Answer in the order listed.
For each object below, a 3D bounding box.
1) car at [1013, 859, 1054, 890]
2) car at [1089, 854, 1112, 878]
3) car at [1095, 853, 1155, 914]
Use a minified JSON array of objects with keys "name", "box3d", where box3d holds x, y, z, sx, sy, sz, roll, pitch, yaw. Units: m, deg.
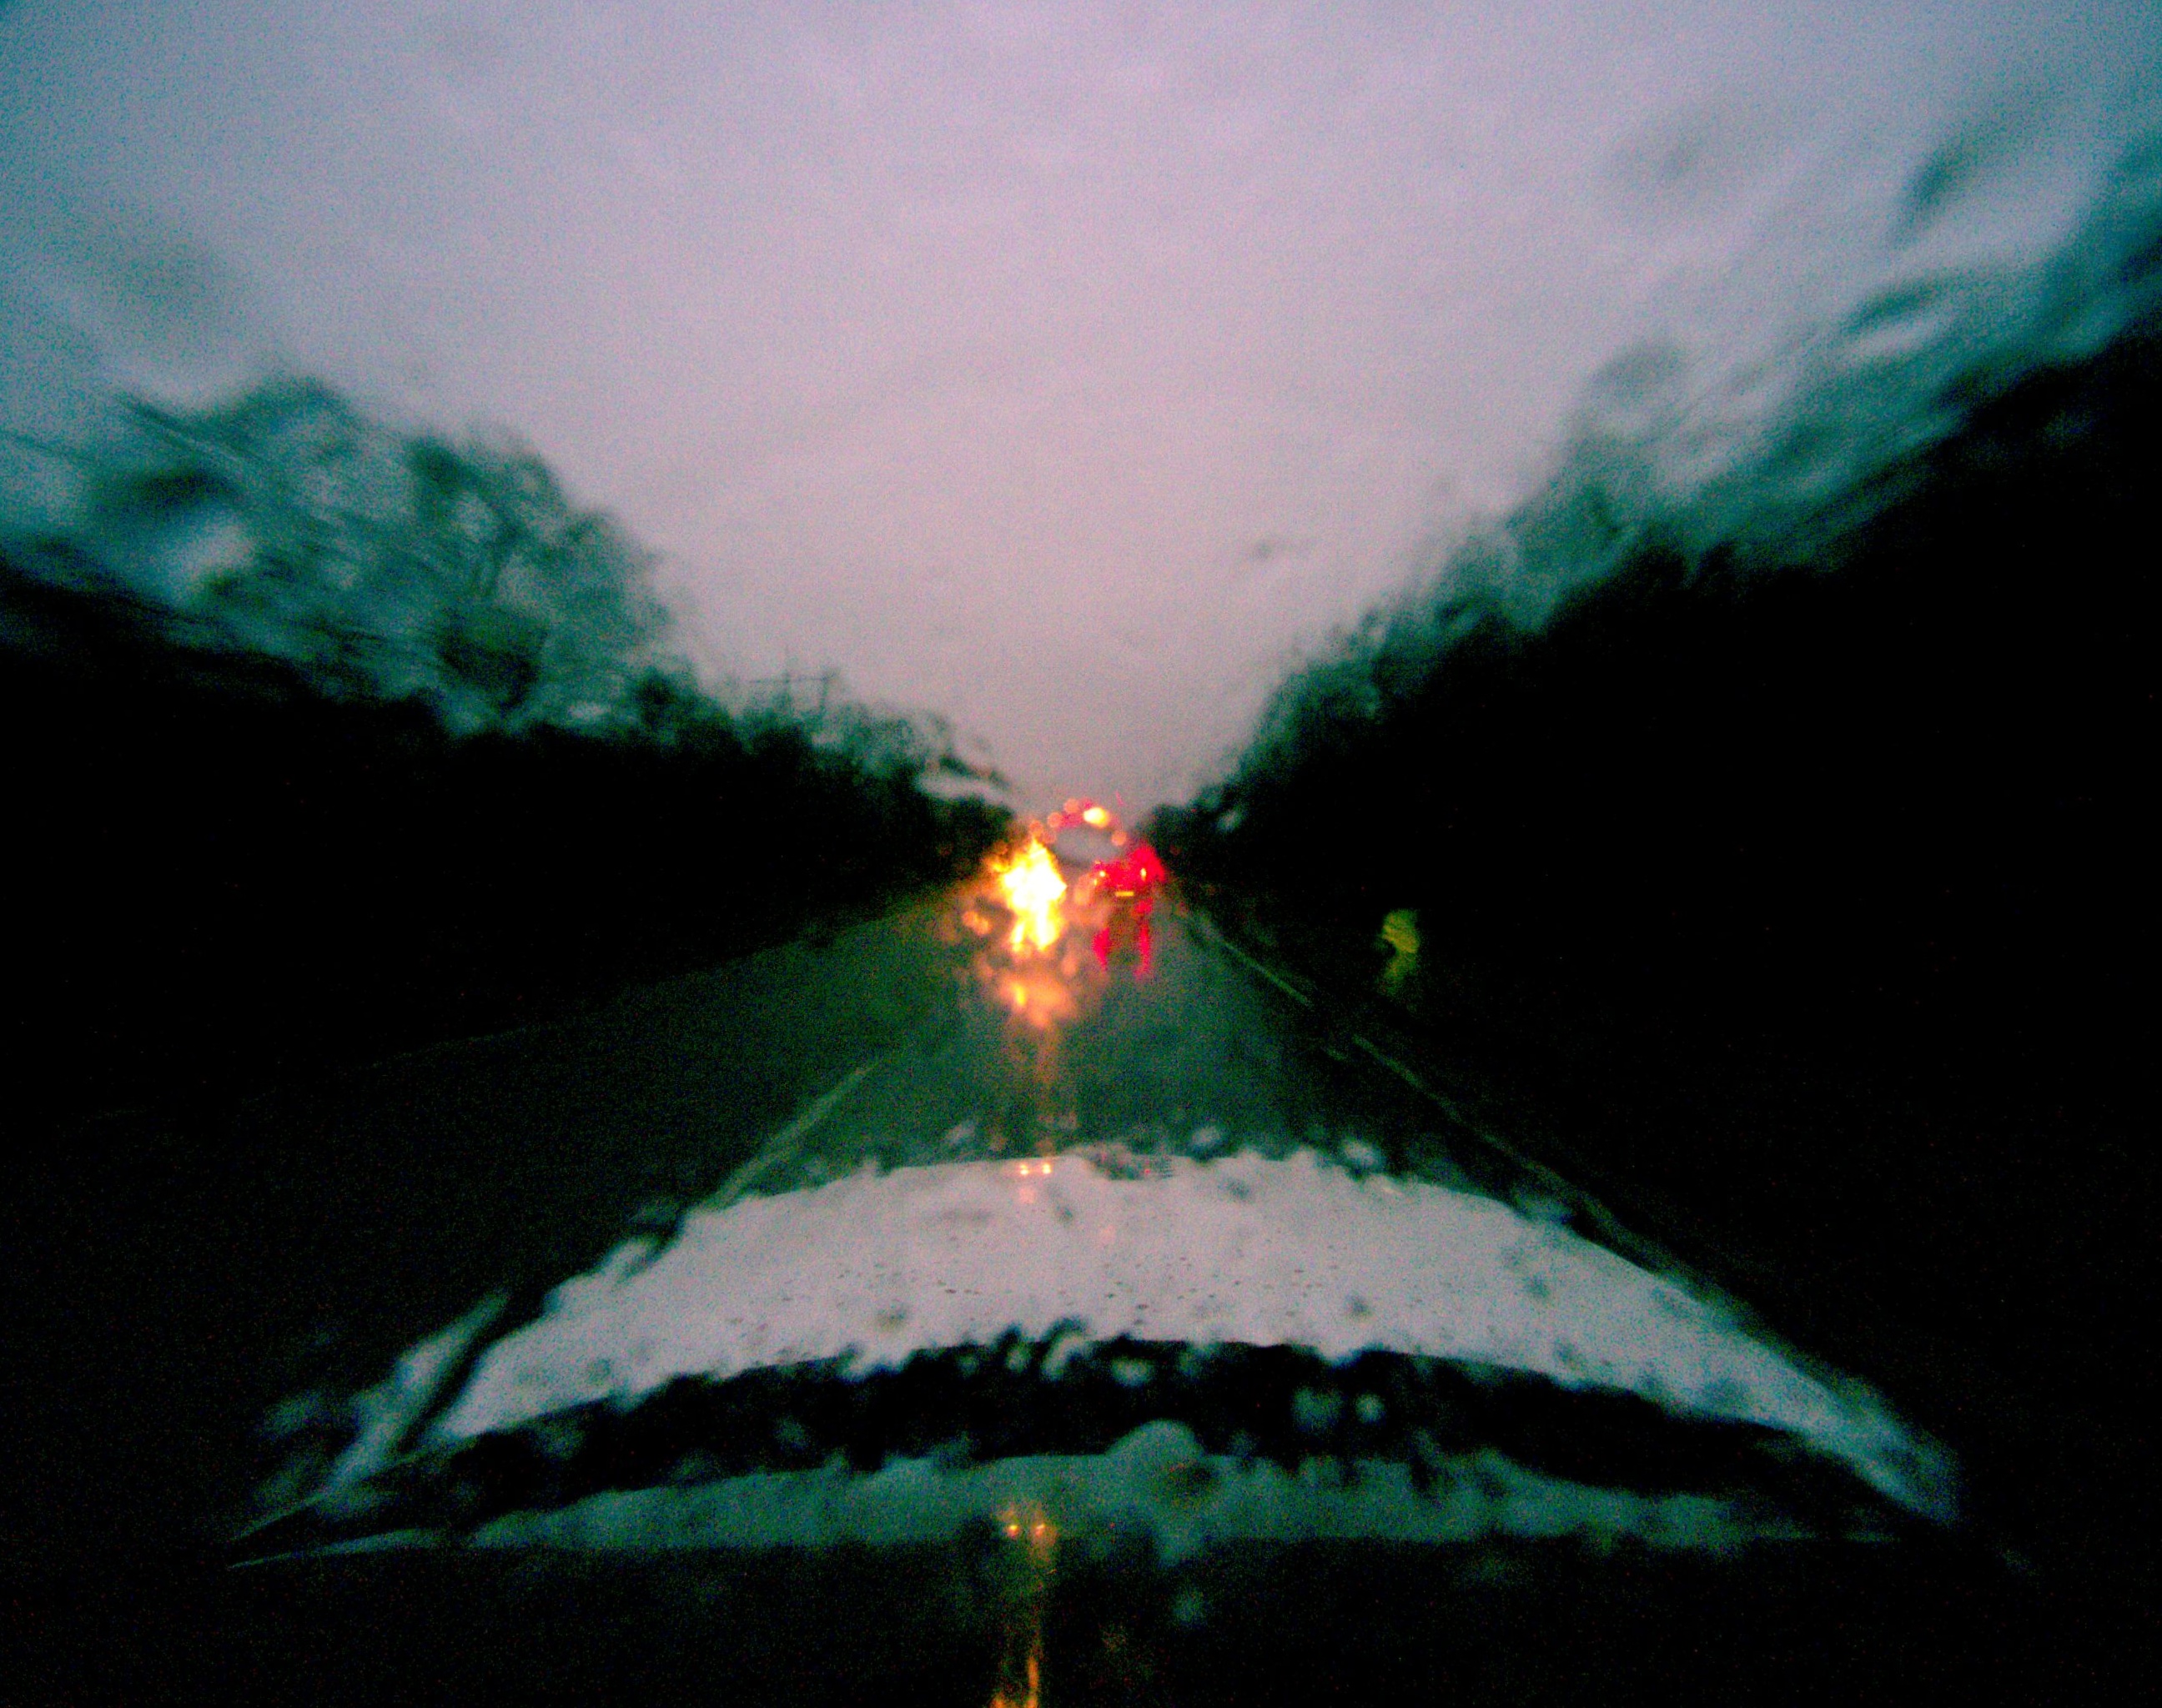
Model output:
[{"name":"car","box3d":[-2.540,1.079,44.655,1.692,1.495,5.666,-1,0,2]},{"name":"car","box3d":[1.487,0.938,63.494,1.727,1.779,4.001,0,0,1]},{"name":"car","box3d":[1.265,0.828,24.329,1.642,1.672,3.515,0,0,2]}]
